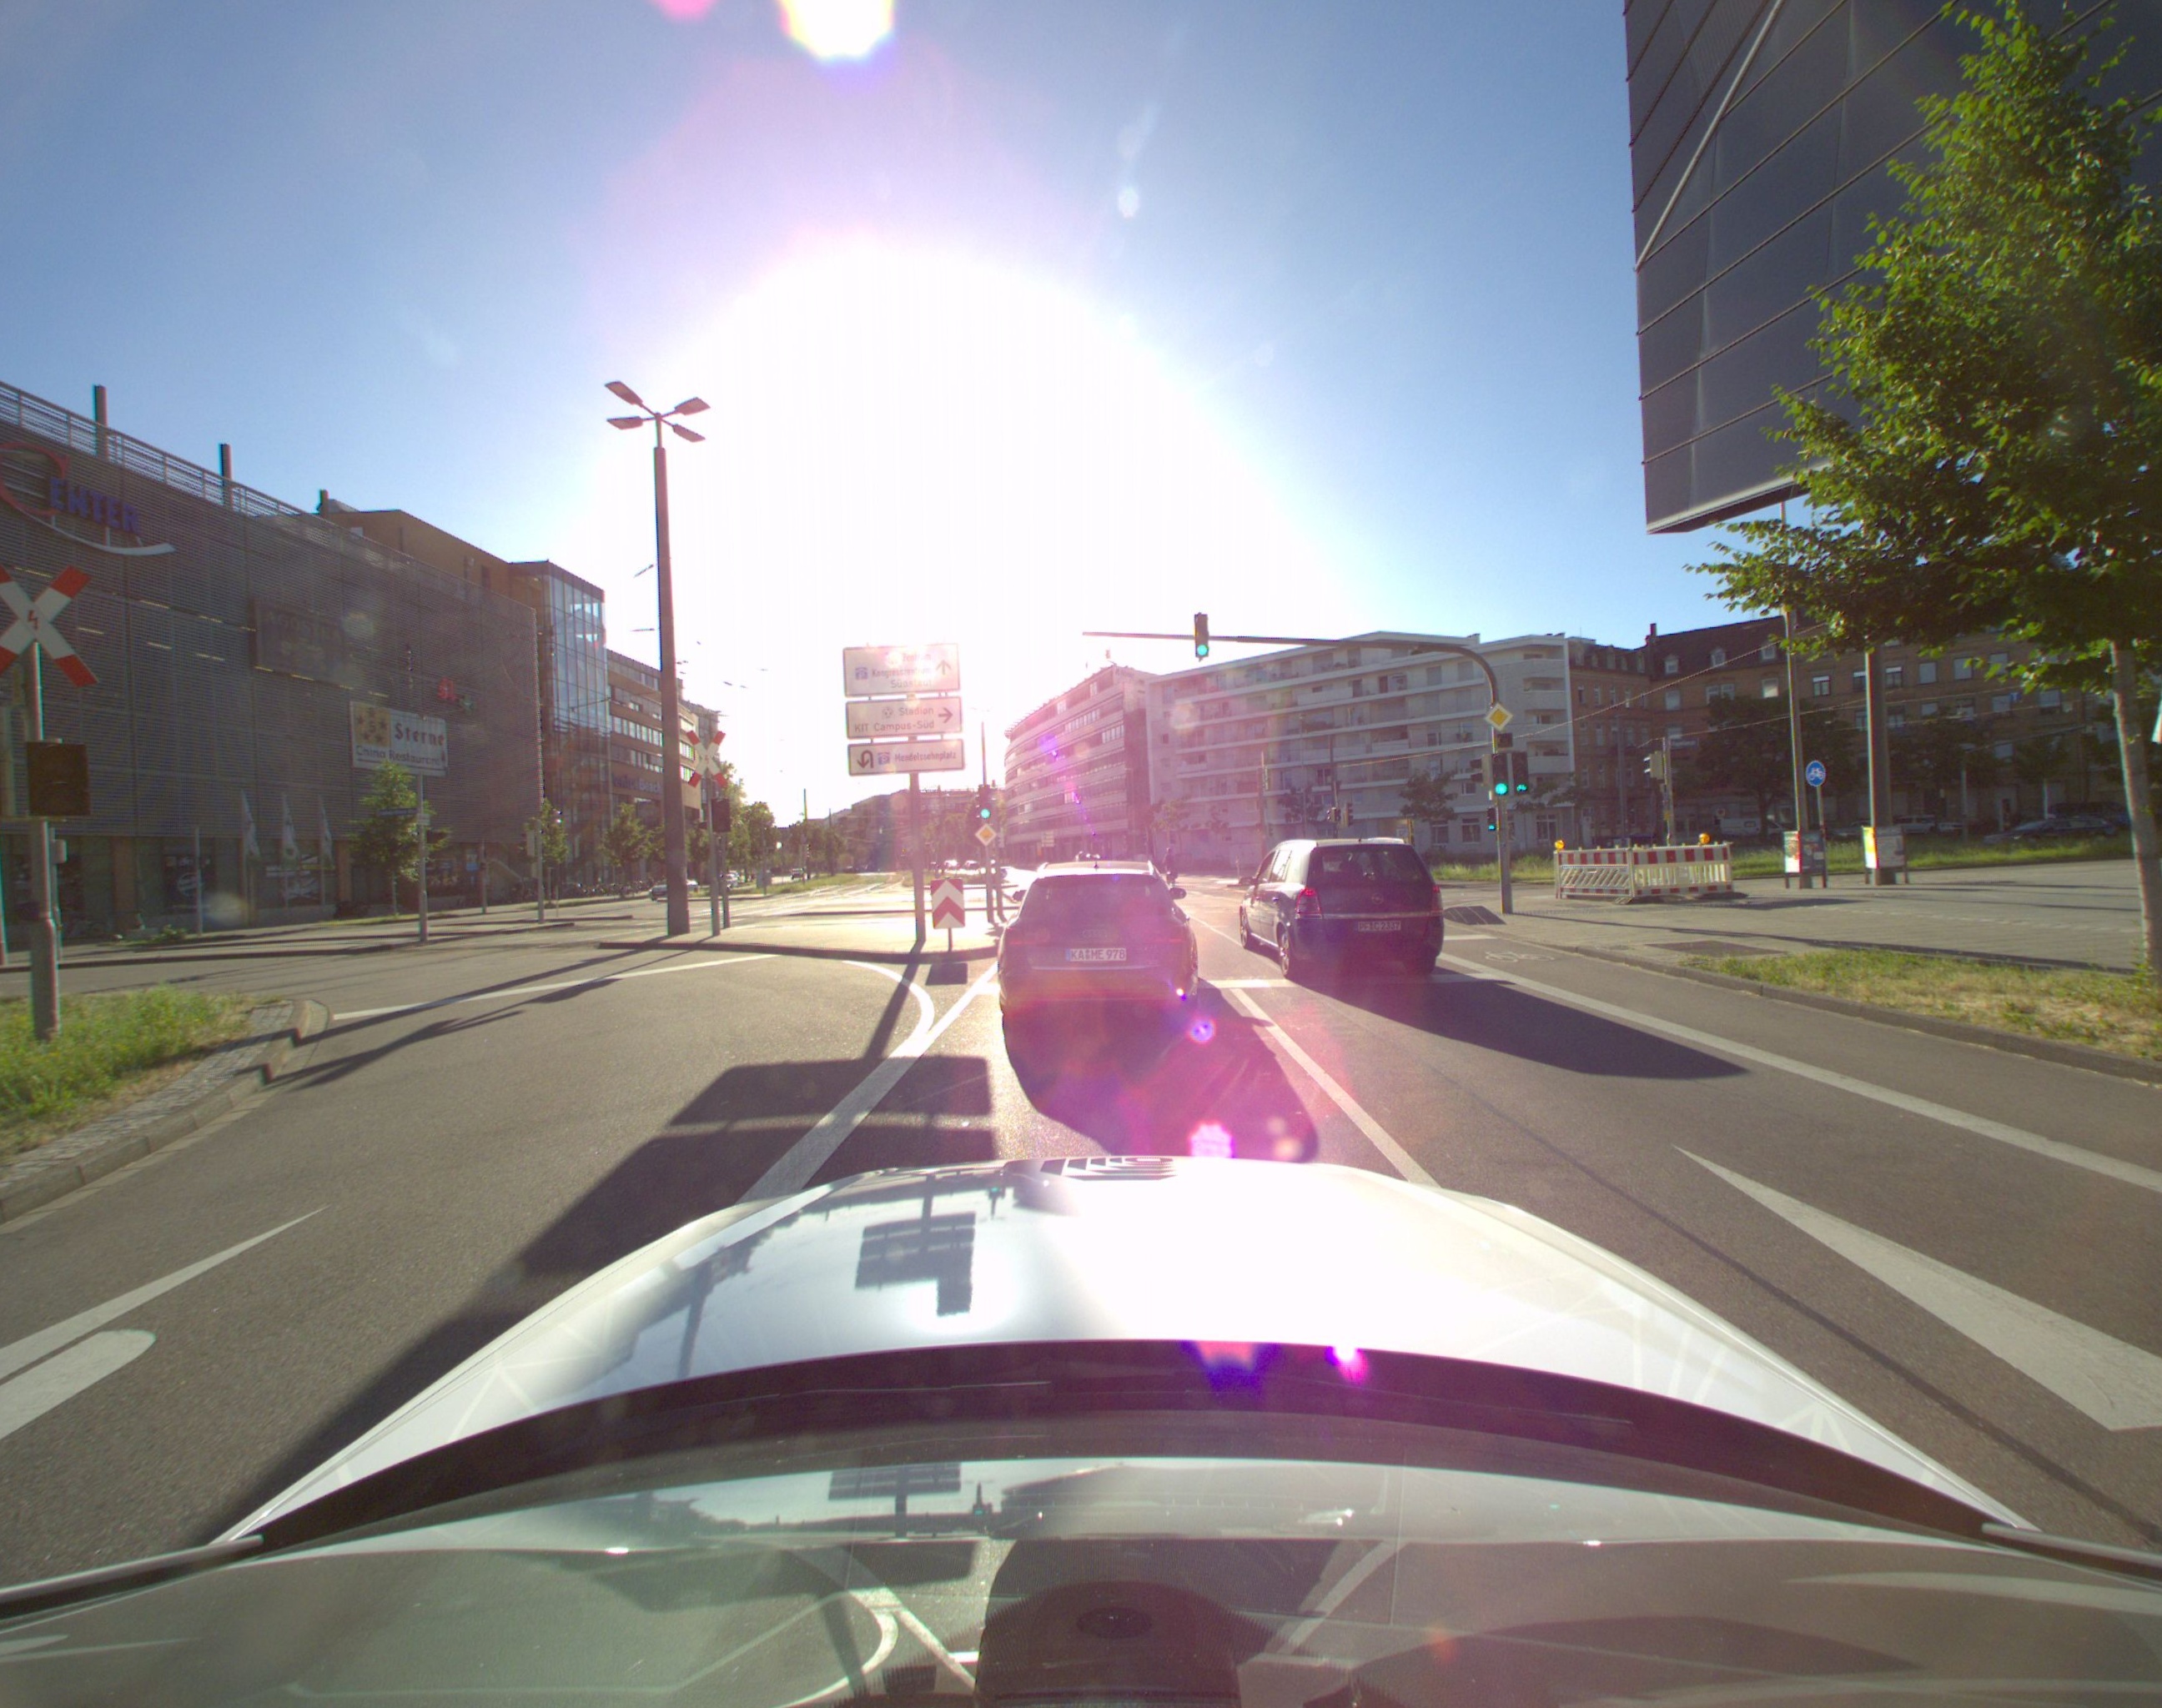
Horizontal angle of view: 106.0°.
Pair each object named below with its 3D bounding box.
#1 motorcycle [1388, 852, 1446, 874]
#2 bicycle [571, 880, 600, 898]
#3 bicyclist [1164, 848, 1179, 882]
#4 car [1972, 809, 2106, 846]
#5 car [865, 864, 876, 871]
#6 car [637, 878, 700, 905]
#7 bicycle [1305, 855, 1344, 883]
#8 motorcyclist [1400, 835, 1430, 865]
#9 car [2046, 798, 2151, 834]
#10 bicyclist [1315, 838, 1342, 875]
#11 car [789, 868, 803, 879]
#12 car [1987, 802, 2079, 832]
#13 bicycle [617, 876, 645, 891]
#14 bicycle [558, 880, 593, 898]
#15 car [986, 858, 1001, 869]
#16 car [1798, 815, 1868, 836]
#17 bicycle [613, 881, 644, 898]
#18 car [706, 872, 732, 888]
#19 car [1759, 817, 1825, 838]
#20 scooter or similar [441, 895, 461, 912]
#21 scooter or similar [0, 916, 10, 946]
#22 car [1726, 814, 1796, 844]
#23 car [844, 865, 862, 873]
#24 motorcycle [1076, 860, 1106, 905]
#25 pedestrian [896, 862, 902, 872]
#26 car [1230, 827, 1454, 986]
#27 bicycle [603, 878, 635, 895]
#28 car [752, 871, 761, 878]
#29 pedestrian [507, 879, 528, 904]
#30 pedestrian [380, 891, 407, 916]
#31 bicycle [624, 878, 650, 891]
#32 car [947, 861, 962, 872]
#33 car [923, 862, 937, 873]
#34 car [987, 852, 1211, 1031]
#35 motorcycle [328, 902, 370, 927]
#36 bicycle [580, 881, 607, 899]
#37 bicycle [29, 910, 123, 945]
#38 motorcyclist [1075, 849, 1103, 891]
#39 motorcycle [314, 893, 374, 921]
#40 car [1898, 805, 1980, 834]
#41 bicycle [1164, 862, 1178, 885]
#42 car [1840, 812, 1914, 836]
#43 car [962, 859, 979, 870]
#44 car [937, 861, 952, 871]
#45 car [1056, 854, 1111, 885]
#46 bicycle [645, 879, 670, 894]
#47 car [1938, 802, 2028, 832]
[{"bbox_3d":[17.111,0.445,41.535,2.447,1.000,1.170,-3,0,-3],"label":"motorcycle"},{"bbox_3d":[-43.783,3.121,71.916,2.070,1.433,0.863,-4,-1,10],"label":"bicycle"},{"bbox_3d":[4.593,0.548,41.396,0.651,1.642,0.973,-2,0,5],"label":"bicyclist"},{"bbox_3d":[45.430,-1.250,38.679,4.229,1.400,1.768,-3,-3,-2],"label":"car"},{"bbox_3d":[-50.655,3.296,195.964,2.000,1.640,4.383,-2,0,-19],"label":"car"},{"bbox_3d":[-28.023,2.516,55.513,1.988,1.545,4.527,-3,0,-2],"label":"car"},{"bbox_3d":[11.672,0.709,39.151,0.767,1.262,2.070,-2,0,-16],"label":"bicycle"},{"bbox_3d":[17.034,-0.202,41.538,0.923,1.481,1.170,-3,0,-3],"label":"motorcyclist"},{"bbox_3d":[73.954,-2.739,59.306,4.355,2.189,2.013,-4,-1,38],"label":"car"},{"bbox_3d":[11.777,0.144,38.722,0.768,1.706,0.925,-2,-1,-16],"label":"bicyclist"},{"bbox_3d":[-44.092,3.029,126.057,2.000,1.640,4.383,-2,0,-19],"label":"car"},{"bbox_3d":[67.395,-2.586,57.763,1.983,1.772,4.008,-4,-1,7],"label":"car"},{"bbox_3d":[-47.280,3.138,85.556,2.591,1.433,0.773,-4,-1,10],"label":"bicycle"},{"bbox_3d":[-43.991,3.055,70.903,2.355,1.433,1.079,-4,-1,10],"label":"bicycle"},{"bbox_3d":[-15.560,1.735,144.294,1.996,1.838,3.981,-3,-1,-13],"label":"car"},{"bbox_3d":[56.235,-2.108,61.008,1.981,1.354,4.012,-4,-1,11],"label":"car"},{"bbox_3d":[-43.892,3.444,79.031,2.546,1.433,0.907,-4,-1,10],"label":"bicycle"},{"bbox_3d":[-36.675,2.573,82.508,1.899,1.407,3.976,-3,0,-18],"label":"car"},{"bbox_3d":[54.026,-2.011,62.001,1.981,1.354,4.012,-4,-1,11],"label":"car"},{"bbox_3d":[-43.023,3.398,55.630,0.419,1.110,1.153,-4,-1,2],"label":"scooter or similar"},{"bbox_3d":[-43.873,3.108,32.241,0.790,1.207,1.575,-4,-1,2],"label":"scooter or similar"},{"bbox_3d":[58.619,-2.123,70.281,4.543,2.310,2.013,-3,-1,40],"label":"car"},{"bbox_3d":[-49.340,3.265,176.461,1.979,1.706,4.015,-4,-1,14],"label":"car"},{"bbox_3d":[0.305,0.923,26.882,0.860,1.393,1.892,-2,0,-2],"label":"motorcycle"},{"bbox_3d":[-33.080,2.374,147.921,0.904,1.824,0.825,-3,-2,-15],"label":"pedestrian"},{"bbox_3d":[3.200,0.577,10.917,1.739,1.696,4.262,0,0,1],"label":"car"},{"bbox_3d":[-43.574,3.079,76.778,2.546,1.433,0.907,-4,-1,10],"label":"bicycle"},{"bbox_3d":[-79.327,4.969,199.054,1.658,1.588,3.330,-2,0,-26],"label":"car"},{"bbox_3d":[-42.643,2.822,61.638,0.823,1.824,0.905,-4,-2,3],"label":"pedestrian"},{"bbox_3d":[-44.390,3.191,52.608,0.984,1.566,0.829,-4,-2,1],"label":"pedestrian"},{"bbox_3d":[-47.393,3.257,86.986,2.399,1.236,0.747,-4,-1,10],"label":"bicycle"},{"bbox_3d":[-20.896,2.025,134.660,1.996,1.596,3.981,-3,-1,-13],"label":"car"},{"bbox_3d":[-25.928,2.252,139.904,1.998,1.706,3.977,-3,-1,-16],"label":"car"},{"bbox_3d":[0.201,0.725,8.764,1.835,1.454,4.001,-1,0,1],"label":"car"},{"bbox_3d":[-41.911,3.448,46.651,0.673,1.238,1.894,-3,-1,1],"label":"motorcycle"},{"bbox_3d":[-43.706,3.222,72.993,1.965,1.433,0.809,-4,-1,10],"label":"bicycle"},{"bbox_3d":[-41.978,3.046,34.068,0.796,1.220,2.418,-3,0,5],"label":"bicycle"},{"bbox_3d":[0.256,0.536,26.936,0.860,1.326,0.681,-2,-1,-2],"label":"motorcyclist"},{"bbox_3d":[-43.403,3.125,48.018,0.962,1.446,2.619,-3,0,5],"label":"motorcycle"},{"bbox_3d":[60.956,-2.430,57.992,1.981,1.772,4.012,-4,-1,11],"label":"car"},{"bbox_3d":[4.573,0.985,41.397,0.651,1.043,1.932,-2,0,5],"label":"bicycle"},{"bbox_3d":[58.352,-2.143,59.799,1.981,1.486,4.012,-4,-1,11],"label":"car"},{"bbox_3d":[-17.891,1.725,132.077,1.999,1.596,3.976,-3,-1,-17],"label":"car"},{"bbox_3d":[-23.482,2.082,140.439,1.998,1.706,3.977,-3,-1,-16],"label":"car"},{"bbox_3d":[0.082,0.878,48.331,2.008,1.715,4.345,-1,0,-18],"label":"car"},{"bbox_3d":[-47.375,3.646,91.044,2.405,1.433,0.791,-4,-1,10],"label":"bicycle"},{"bbox_3d":[63.500,-2.588,57.447,1.984,1.772,4.006,-3,-1,5],"label":"car"}]
